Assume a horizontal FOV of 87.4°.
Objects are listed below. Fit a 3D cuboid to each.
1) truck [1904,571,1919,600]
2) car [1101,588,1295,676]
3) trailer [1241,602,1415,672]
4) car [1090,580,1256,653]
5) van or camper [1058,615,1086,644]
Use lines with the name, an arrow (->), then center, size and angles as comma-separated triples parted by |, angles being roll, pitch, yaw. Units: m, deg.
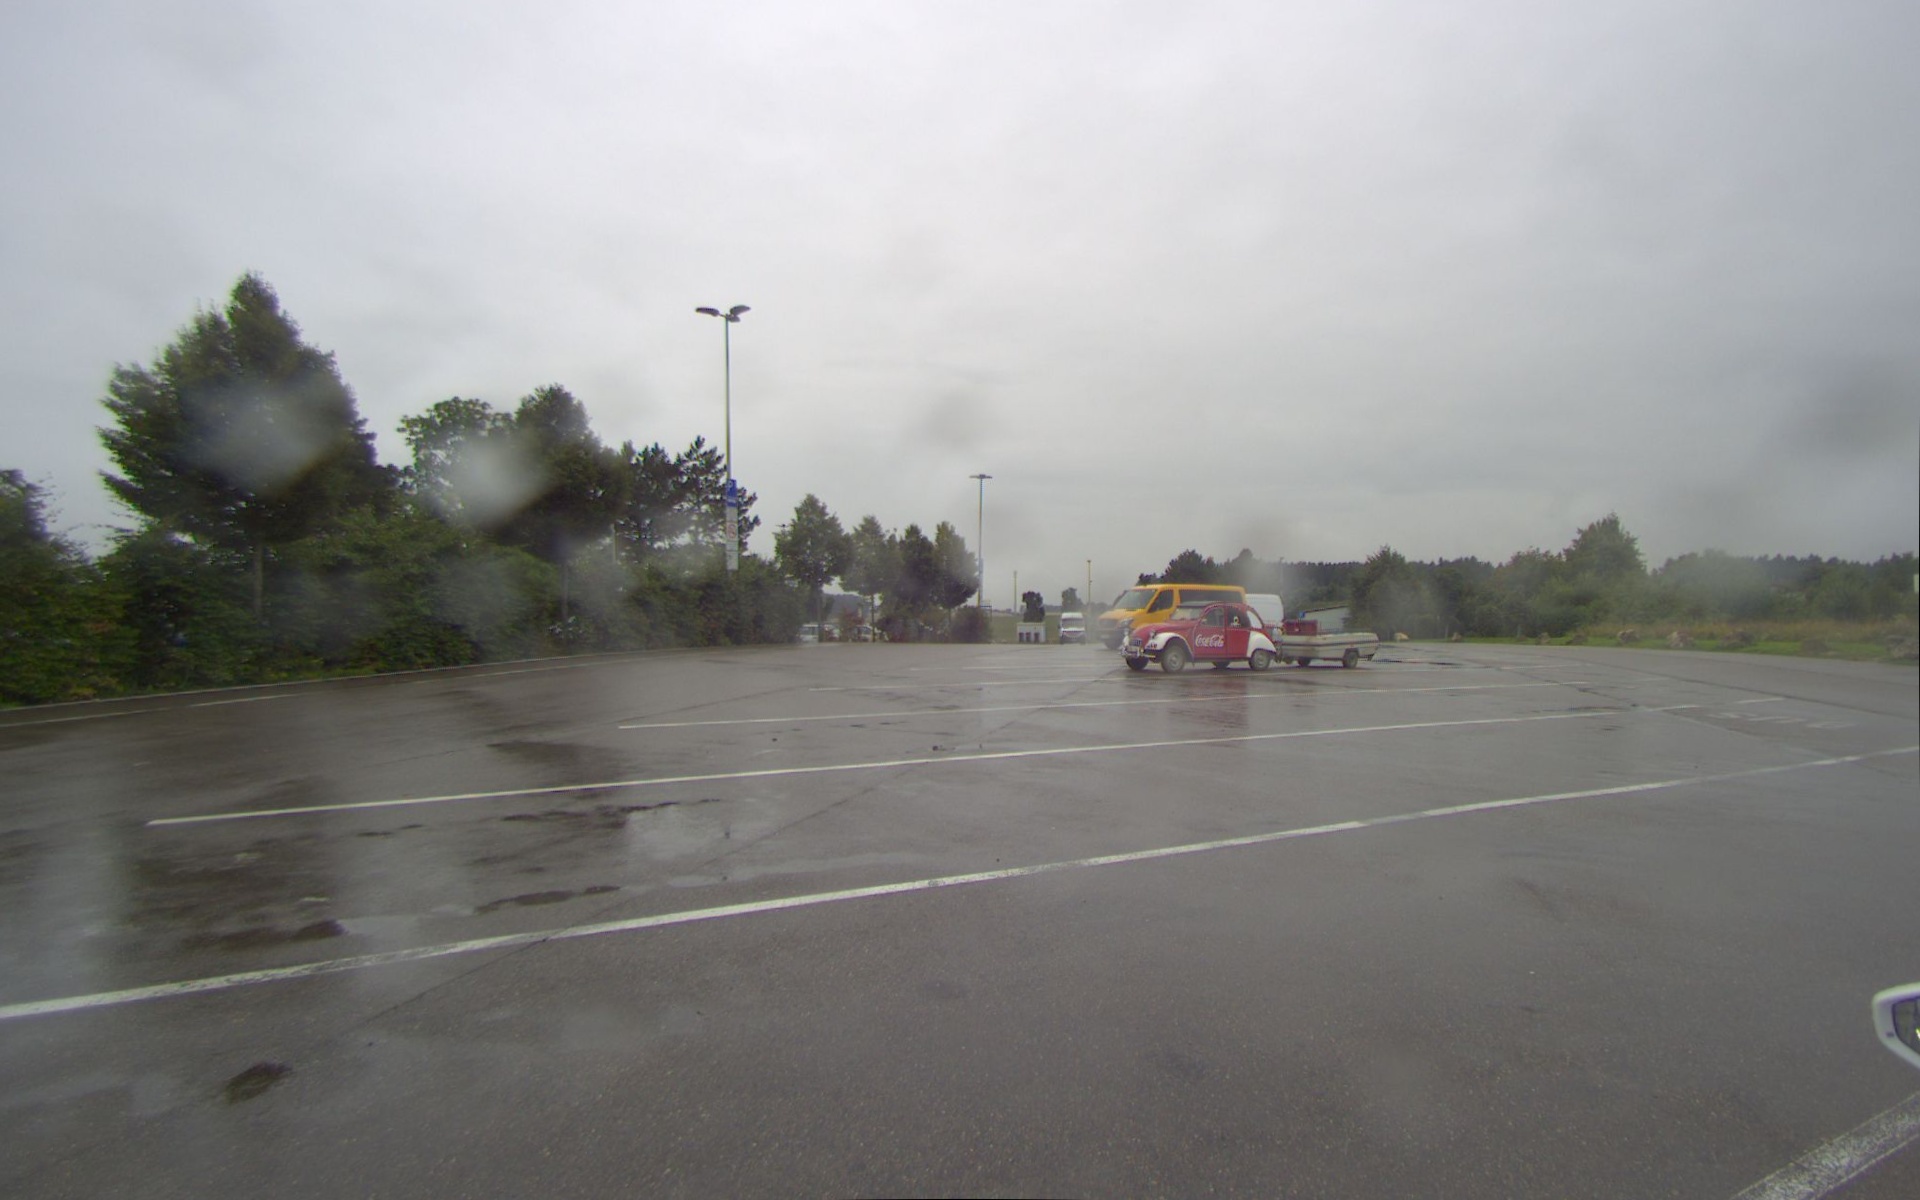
truck -> 115.067, -1.693, 117.943 | 2.693, 3.437, 8.069 | 1, 0, 16
car -> 5.262, 0.691, 22.151 | 3.948, 1.800, 1.816 | 1, -1, -27
trailer -> 8.785, 0.839, 23.950 | 3.948, 1.553, 1.689 | 0, -1, -27
car -> 7.575, 0.652, 35.482 | 5.955, 2.411, 1.985 | 1, -3, -30
van or camper -> 8.790, 2.336, 78.782 | 1.960, 2.195, 4.002 | 0, -1, 3
